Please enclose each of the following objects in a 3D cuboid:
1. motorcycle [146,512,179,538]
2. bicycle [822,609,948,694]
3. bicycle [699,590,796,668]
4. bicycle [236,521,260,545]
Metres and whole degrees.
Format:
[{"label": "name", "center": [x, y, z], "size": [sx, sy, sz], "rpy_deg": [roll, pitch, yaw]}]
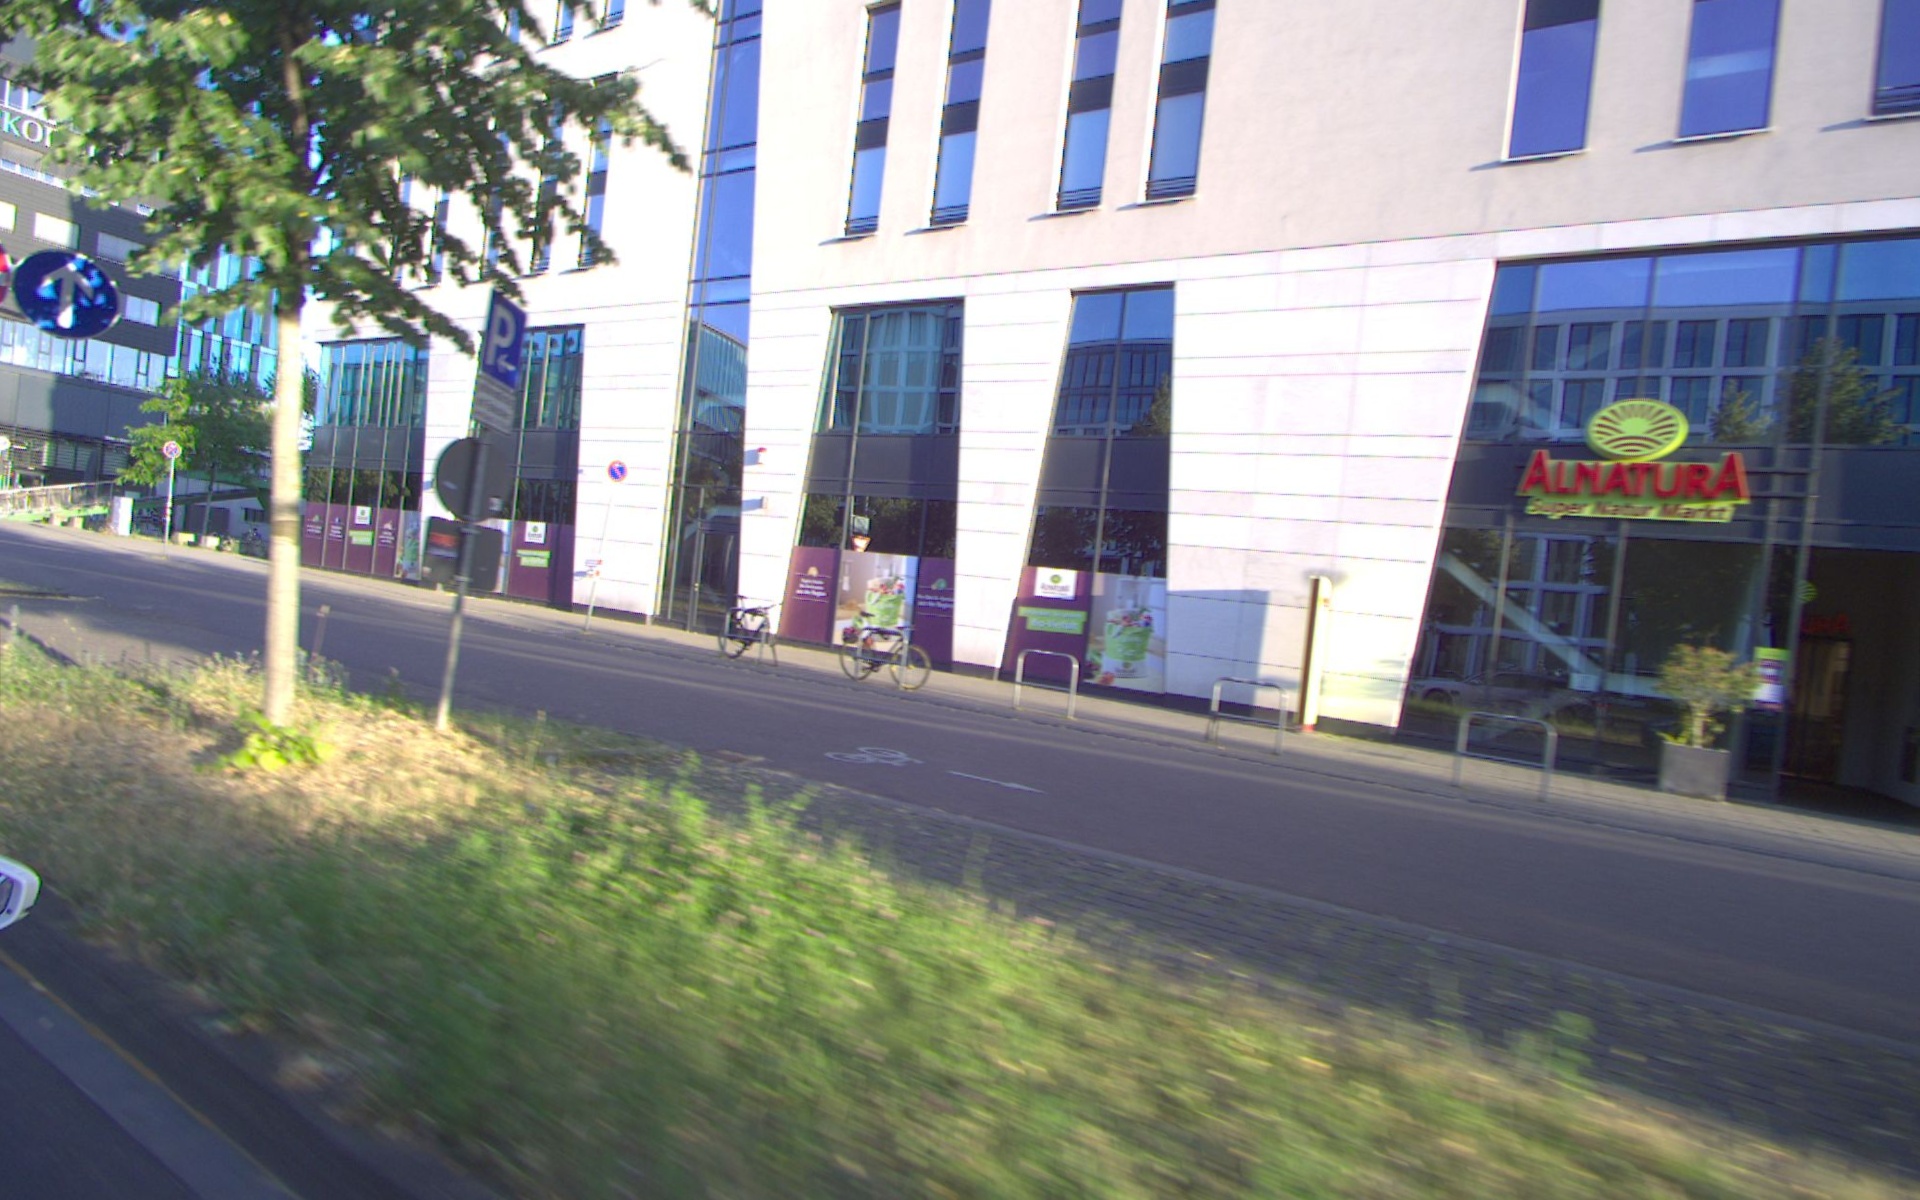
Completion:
[{"label": "motorcycle", "center": [-39.653, -3.714, 49.995], "size": [2.297, 1.107, 0.650], "rpy_deg": [7, 1, 37]}, {"label": "bicycle", "center": [-1.161, 0.762, 15.379], "size": [1.928, 1.075, 0.518], "rpy_deg": [6, 3, 33]}, {"label": "bicycle", "center": [-3.541, 0.468, 16.669], "size": [1.746, 1.087, 0.446], "rpy_deg": [7, 3, 35]}, {"label": "bicycle", "center": [-36.838, -3.462, 52.031], "size": [1.743, 1.065, 0.566], "rpy_deg": [7, 1, 41]}]
